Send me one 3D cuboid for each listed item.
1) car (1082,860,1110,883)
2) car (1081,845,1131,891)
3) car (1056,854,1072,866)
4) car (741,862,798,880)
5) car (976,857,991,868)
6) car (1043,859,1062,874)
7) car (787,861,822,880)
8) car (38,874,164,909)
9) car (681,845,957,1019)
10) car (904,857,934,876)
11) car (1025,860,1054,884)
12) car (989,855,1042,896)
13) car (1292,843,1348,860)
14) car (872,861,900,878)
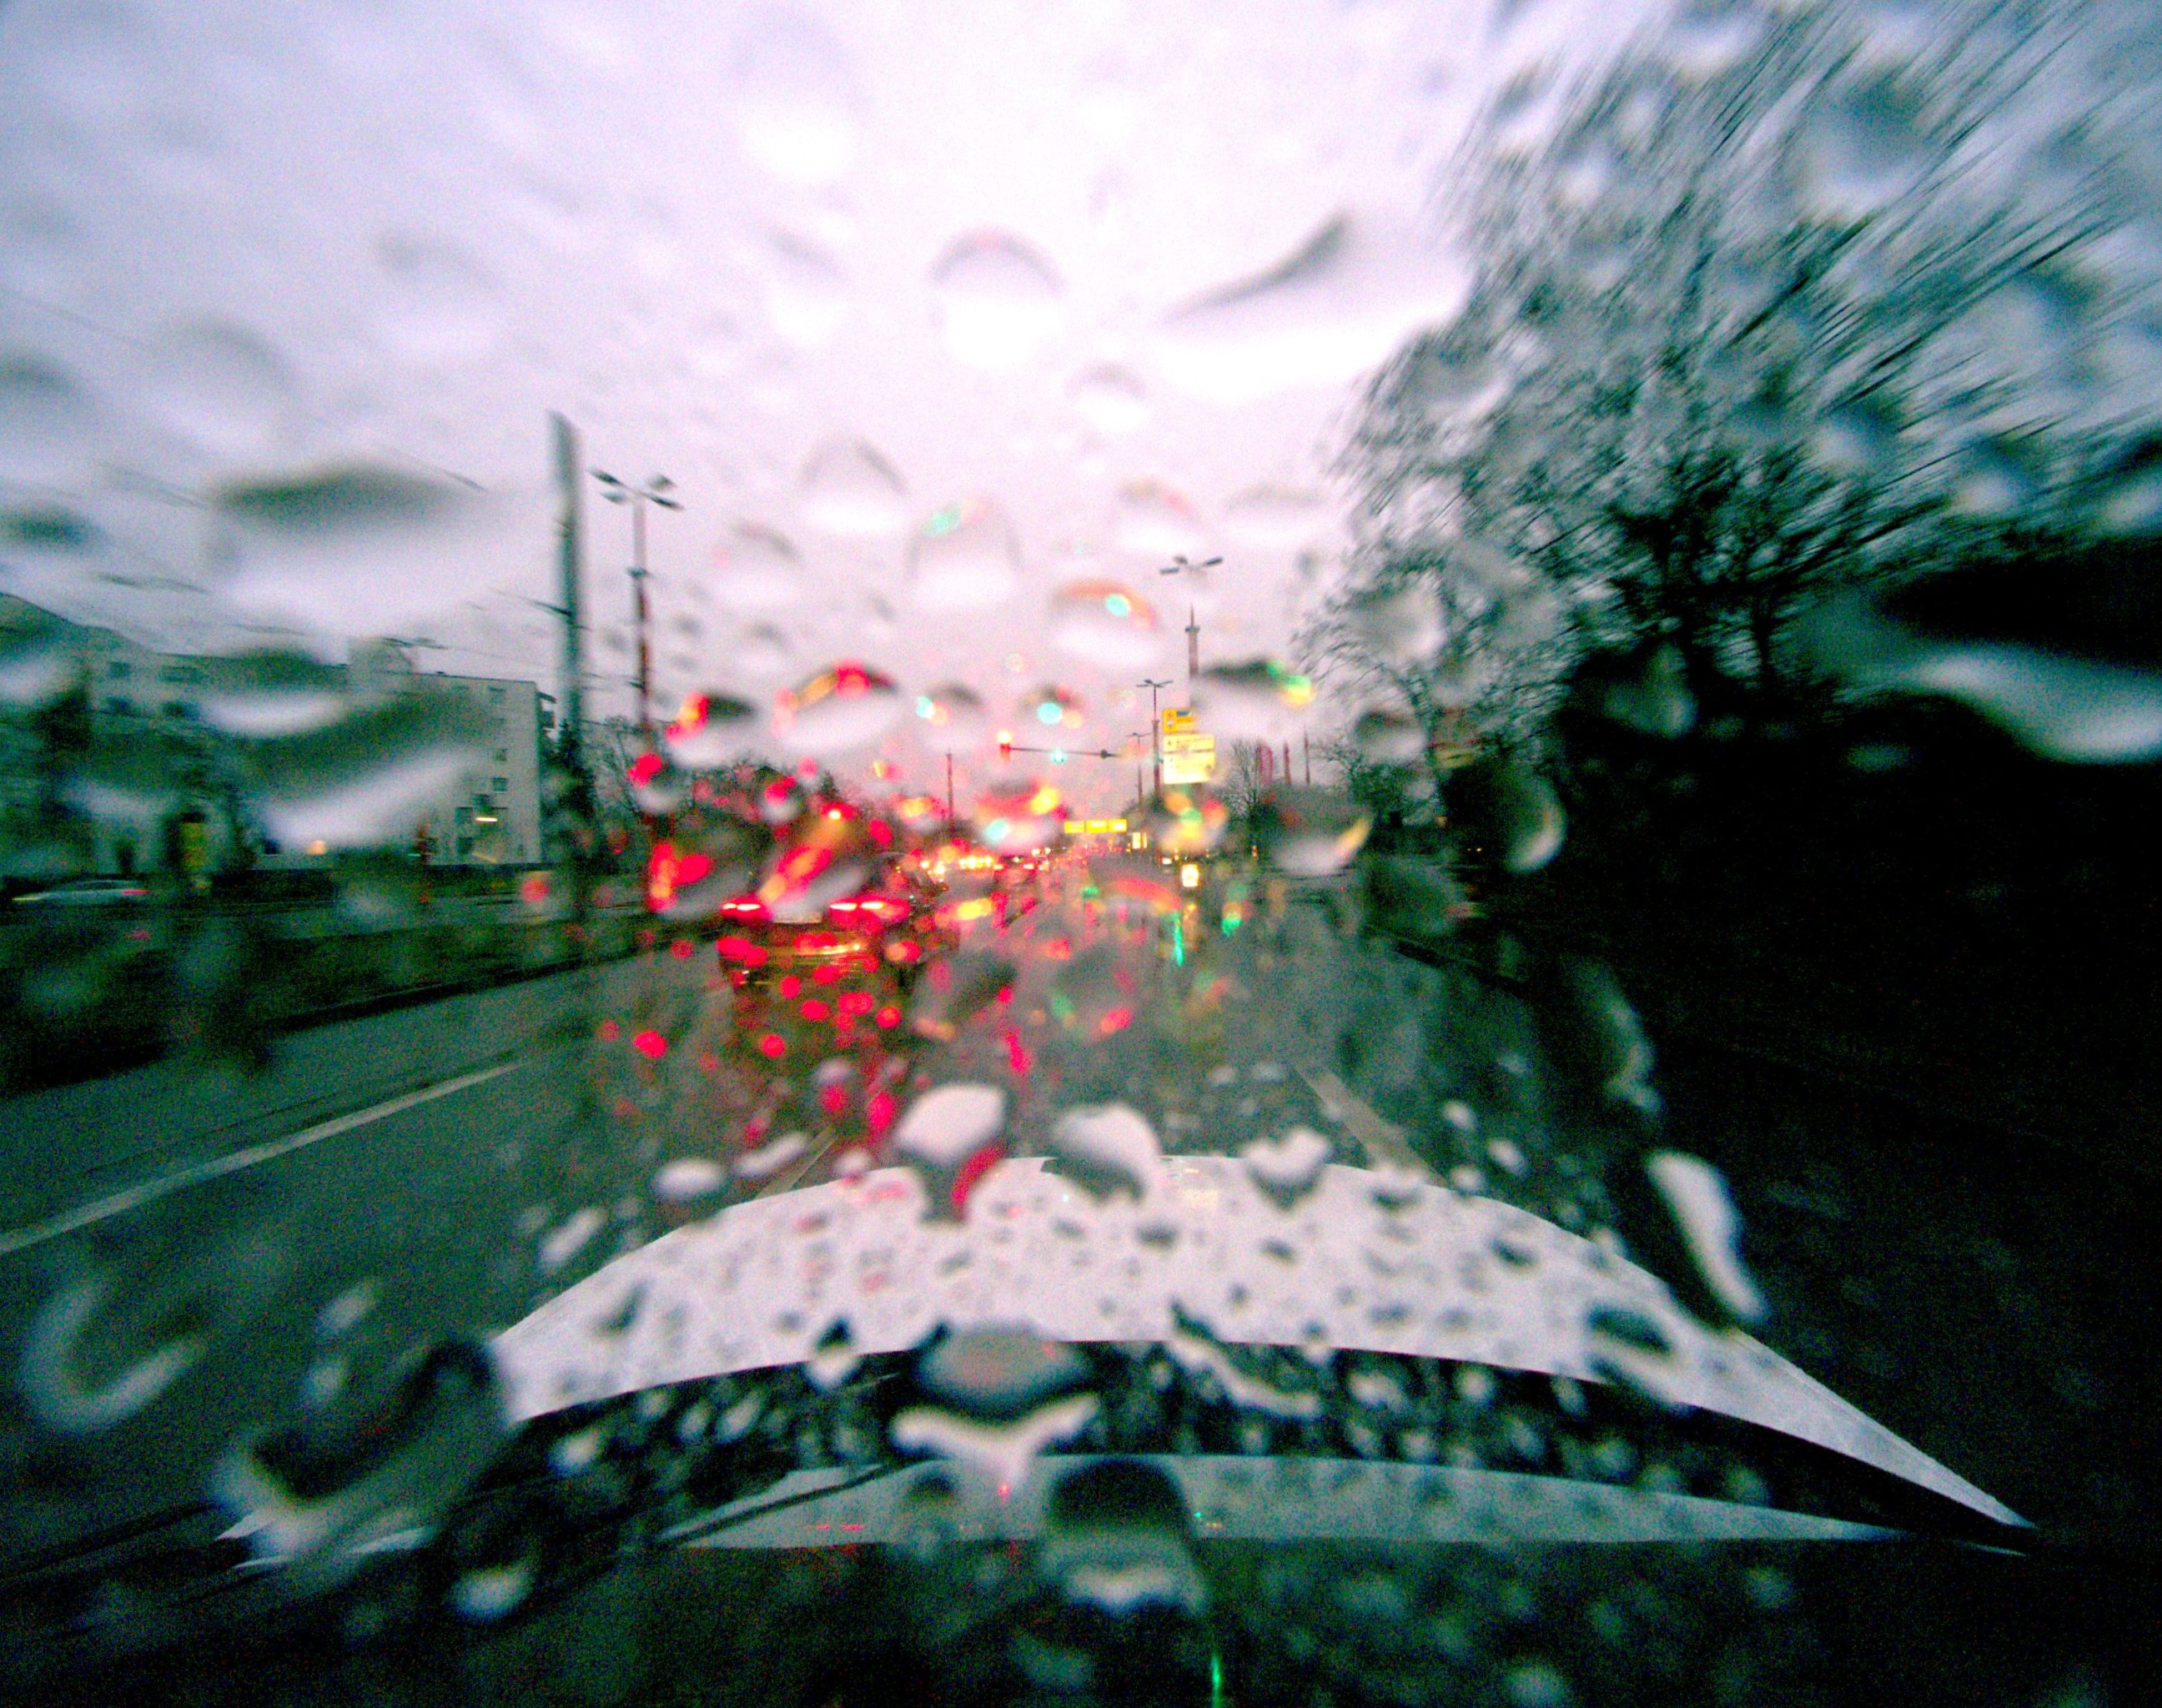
[{"bbox_3d":[1.114,1.292,60.292,1.986,1.662,4.001,0,-1,1],"label":"car"},{"bbox_3d":[0.998,0.519,32.493,1.815,1.648,4.468,-2,0,2],"label":"car"},{"bbox_3d":[-2.085,0.721,101.558,1.815,1.504,4.002,-1,0,2],"label":"car"},{"bbox_3d":[-29.010,1.560,75.986,1.974,1.530,4.513,-2,0,39],"label":"car"},{"bbox_3d":[-15.470,1.321,129.406,1.764,1.586,4.033,-2,0,1],"label":"car"},{"bbox_3d":[-2.647,1.142,77.050,1.499,1.339,4.002,-1,0,2],"label":"car"},{"bbox_3d":[-24.402,1.448,71.990,1.612,1.495,4.018,-2,0,1],"label":"car"},{"bbox_3d":[-52.600,1.992,43.832,4.015,1.640,1.521,-2,0,-33],"label":"car"},{"bbox_3d":[-2.891,0.765,10.143,1.815,1.648,4.468,-1,0,2],"label":"car"},{"bbox_3d":[-14.489,1.114,73.110,1.851,1.581,4.079,-2,0,0],"label":"car"},{"bbox_3d":[-3.065,1.339,60.993,1.815,1.648,4.002,-1,0,2],"label":"car"},{"bbox_3d":[-2.798,0.897,35.528,1.815,1.648,4.002,-1,0,2],"label":"car"},{"bbox_3d":[22.209,-0.237,75.862,4.720,1.376,1.884,-1,0,2],"label":"car"},{"bbox_3d":[-17.578,1.361,73.442,1.646,1.420,3.326,-2,0,1],"label":"car"}]
